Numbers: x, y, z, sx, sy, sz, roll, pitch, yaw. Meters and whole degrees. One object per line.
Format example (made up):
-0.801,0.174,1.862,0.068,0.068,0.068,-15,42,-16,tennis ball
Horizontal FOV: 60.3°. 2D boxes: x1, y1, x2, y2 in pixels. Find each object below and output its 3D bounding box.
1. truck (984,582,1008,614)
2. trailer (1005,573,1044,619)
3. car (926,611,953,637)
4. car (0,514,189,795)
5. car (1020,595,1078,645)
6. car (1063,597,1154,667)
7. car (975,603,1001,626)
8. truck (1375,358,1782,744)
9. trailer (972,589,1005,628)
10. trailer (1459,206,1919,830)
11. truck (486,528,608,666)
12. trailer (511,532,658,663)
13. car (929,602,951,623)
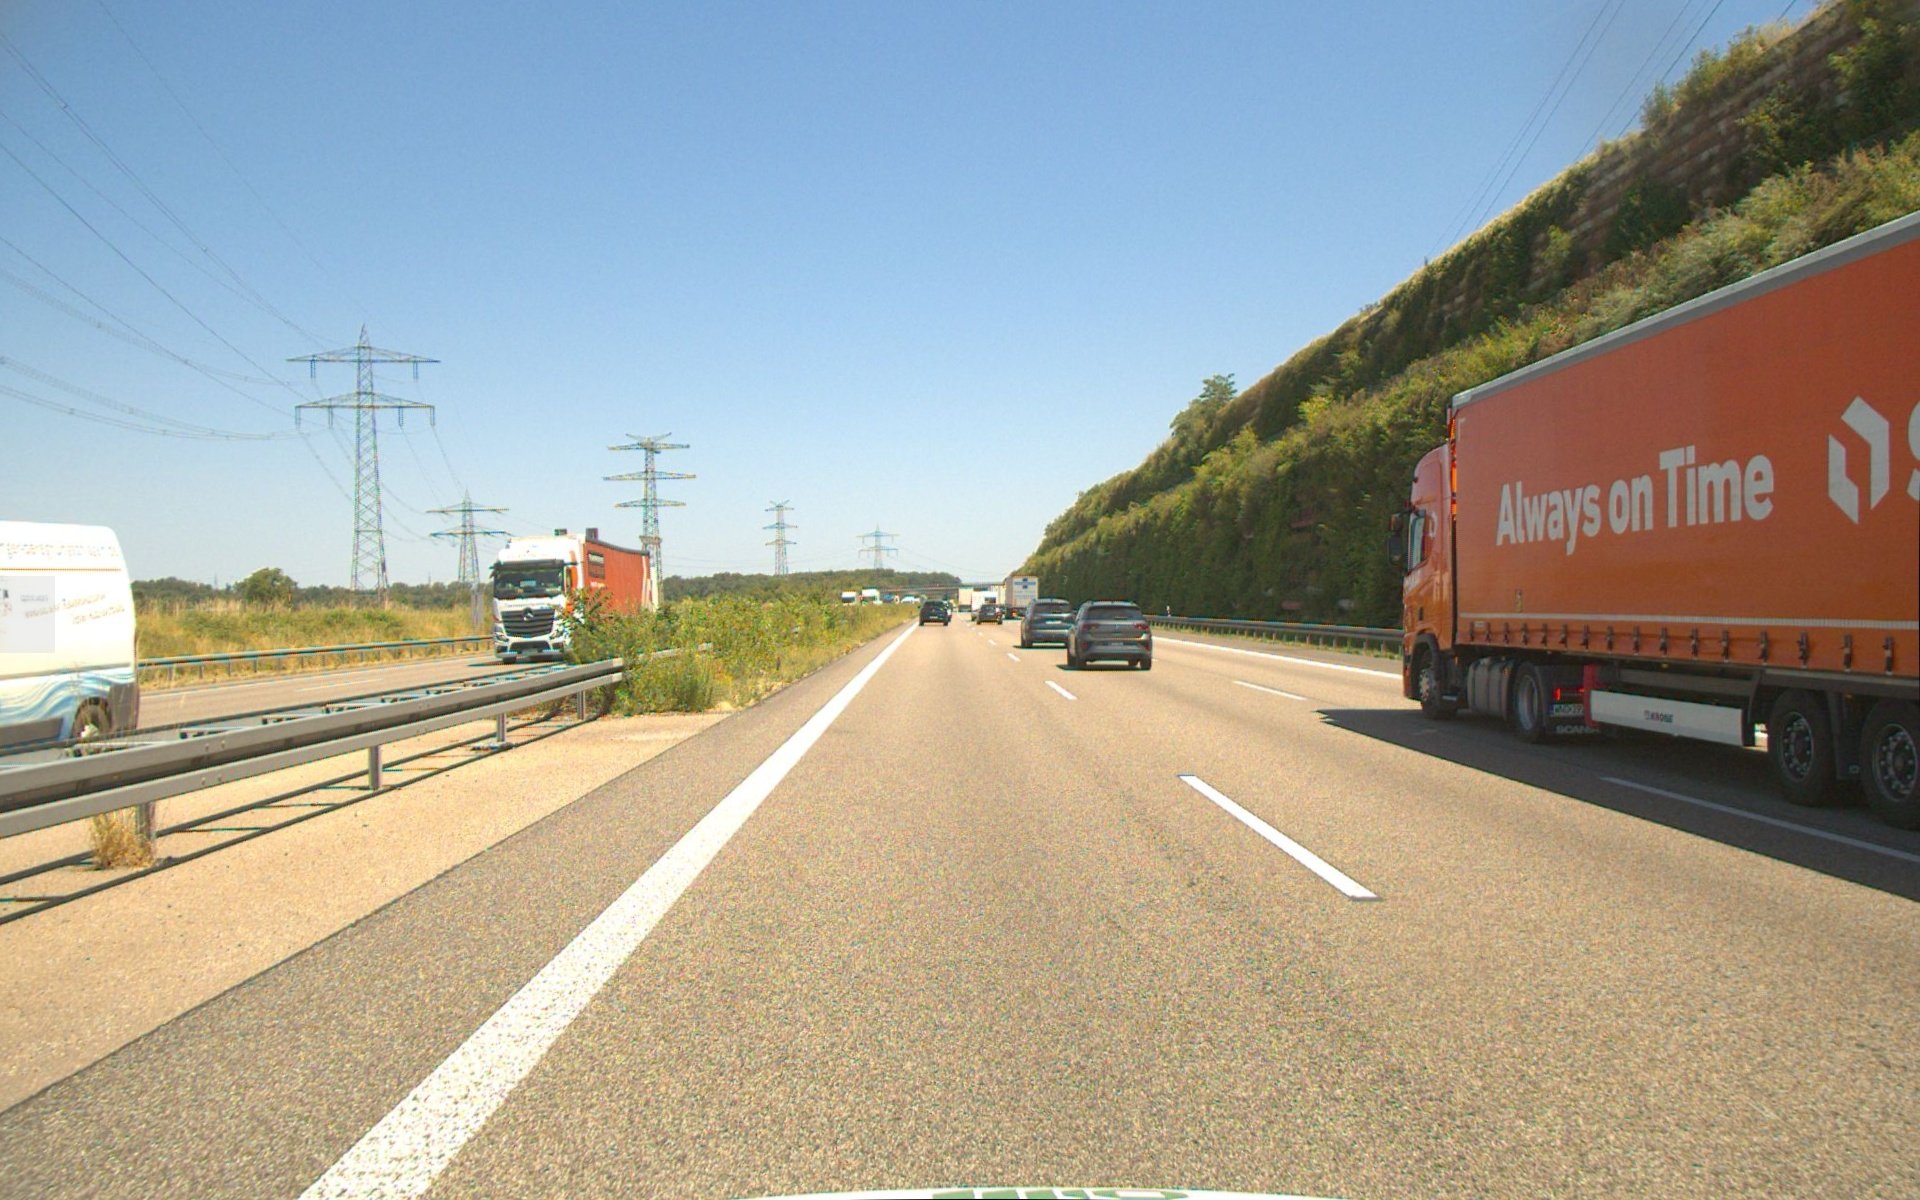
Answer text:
5.038,-0.213,232.644,3.055,4.355,11.932,-1,0,0,truck
6.244,-0.380,161.529,3.118,4.193,13.429,-1,0,0,trailer
-1.404,1.640,112.815,1.793,1.700,3.999,-1,0,-1,car
-9.447,0.505,15.075,1.953,2.480,6.029,-2,0,0,car
3.066,0.671,57.577,1.757,1.682,4.137,0,0,-1,car
3.475,0.728,39.335,1.714,1.552,3.994,-1,0,-1,car
2.040,1.047,119.872,1.792,1.552,4.000,-1,0,0,car
7.369,-0.525,20.777,2.564,4.062,6.525,-1,0,-1,truck
2.484,0.712,146.831,2.558,3.269,9.950,-1,0,-1,trailer
7.524,-0.536,13.540,2.591,4.075,13.603,0,0,-1,trailer
-13.708,-0.102,55.350,2.547,4.285,5.908,-2,0,-1,truck
-13.853,-0.081,62.433,2.539,4.312,14.324,-2,0,-2,trailer
-1.659,1.013,136.289,1.793,1.700,3.999,-1,0,-1,car
